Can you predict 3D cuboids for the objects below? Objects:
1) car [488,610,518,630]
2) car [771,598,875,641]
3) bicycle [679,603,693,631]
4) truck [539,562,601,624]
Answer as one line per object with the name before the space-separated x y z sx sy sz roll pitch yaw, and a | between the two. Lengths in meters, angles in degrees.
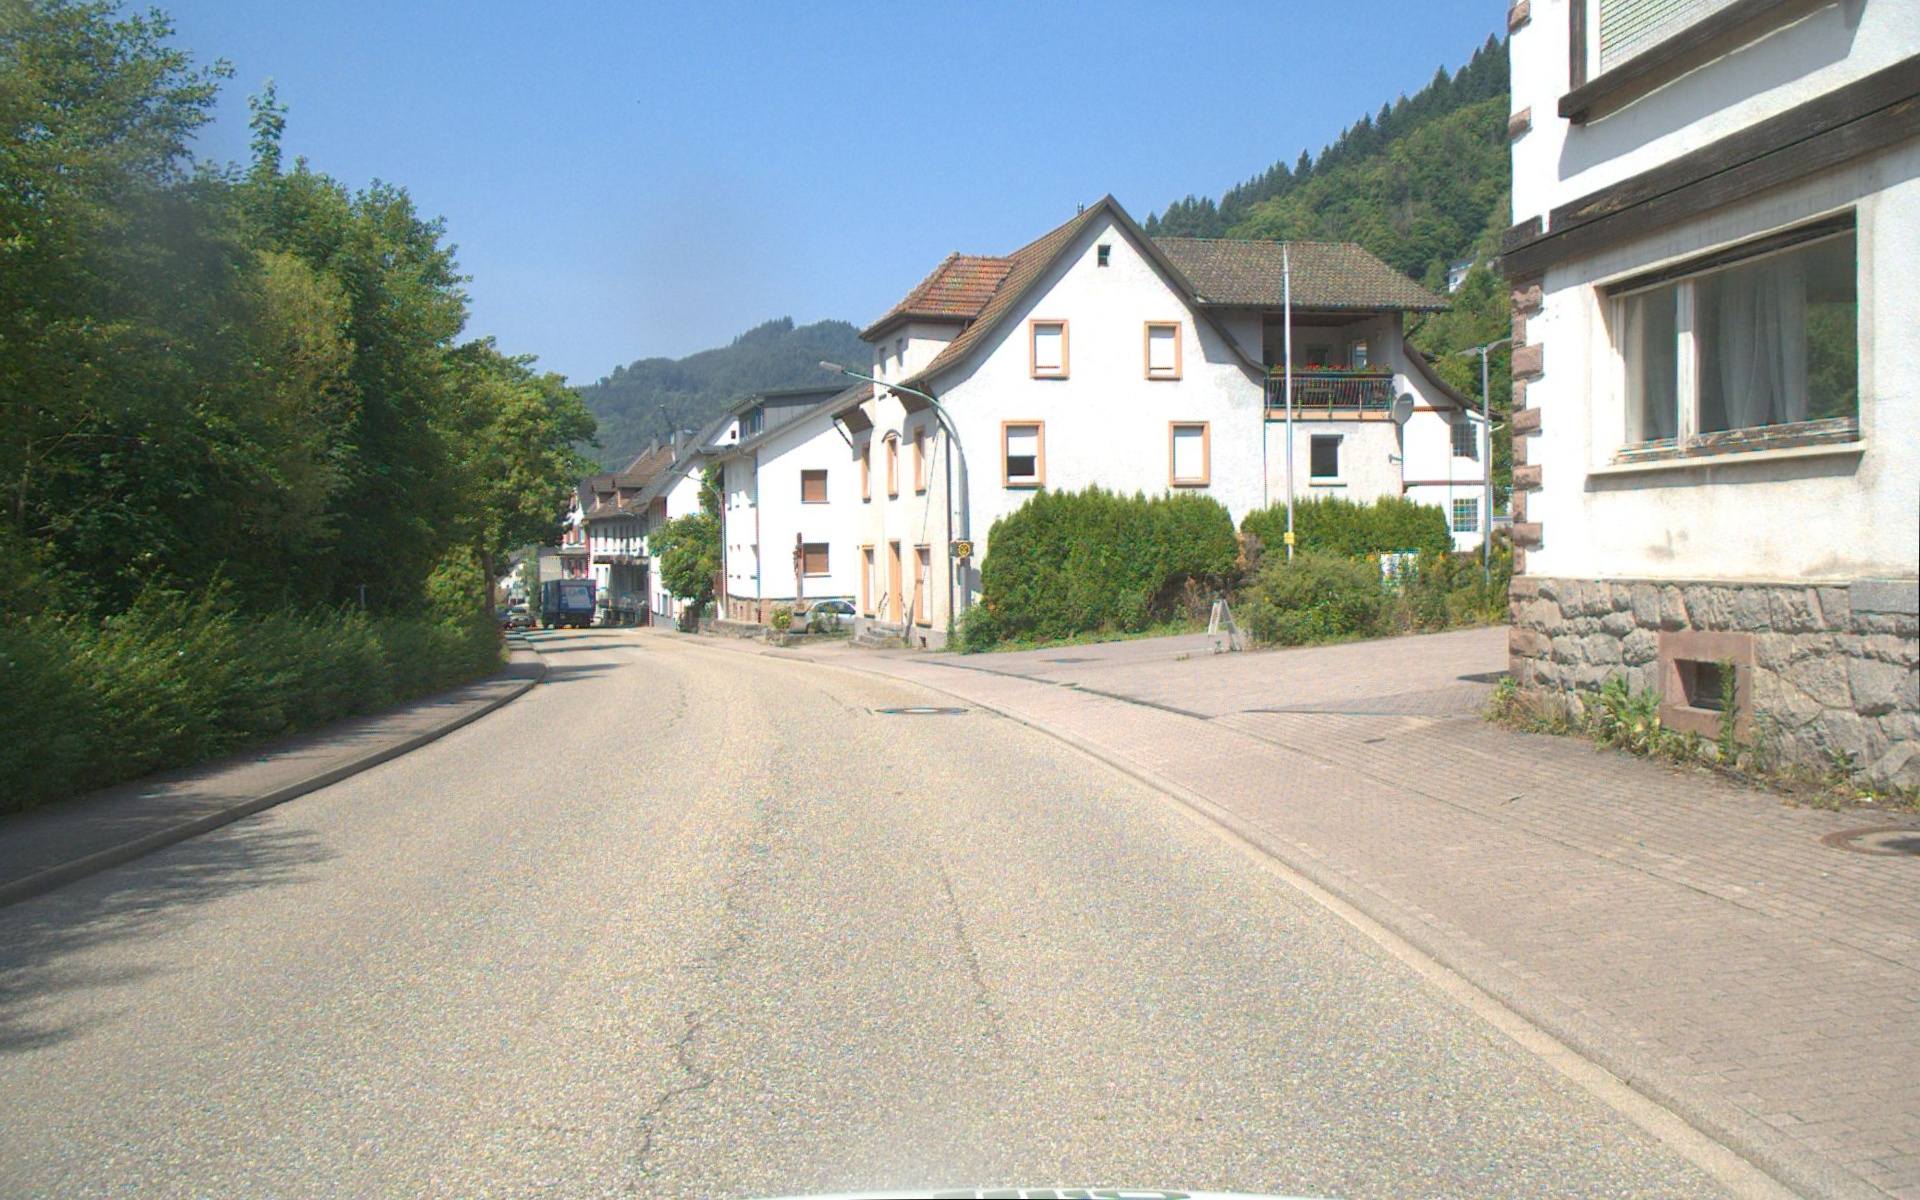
car | -35.640 1.586 128.844 1.645 1.442 4.056 -3 0 -24
car | -5.271 0.756 63.633 3.693 1.452 1.607 -3 0 30
bicycle | -14.481 0.892 87.467 0.418 1.420 2.267 -5 1 -15
truck | -28.252 -0.465 119.628 3.314 3.847 8.392 -5 -1 -19
